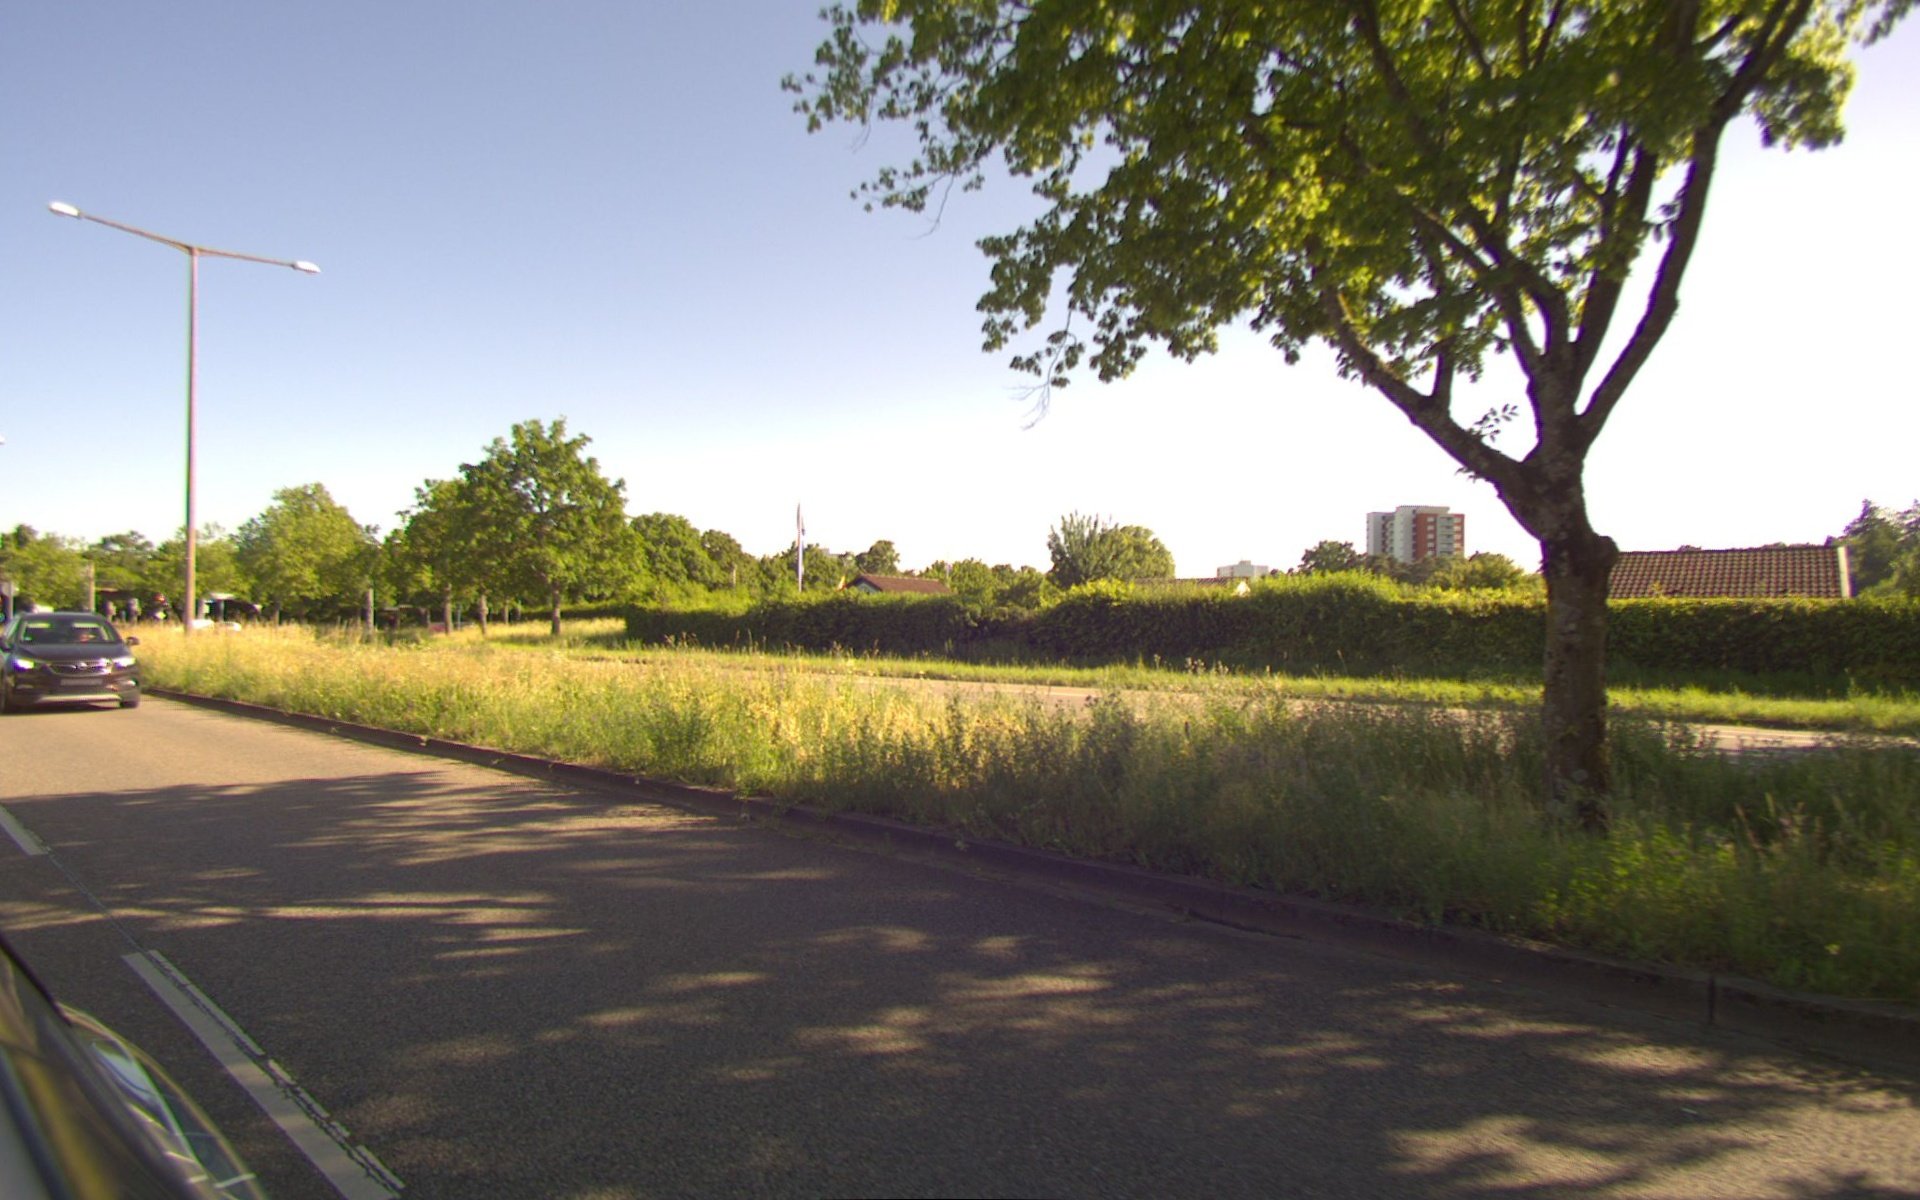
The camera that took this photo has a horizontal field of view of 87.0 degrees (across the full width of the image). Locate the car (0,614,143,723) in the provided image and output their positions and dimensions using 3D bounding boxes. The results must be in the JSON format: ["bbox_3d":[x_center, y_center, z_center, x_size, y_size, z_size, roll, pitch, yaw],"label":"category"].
[{"bbox_3d":[-15.569,1.103,17.396,3.854,1.675,1.692,-1,-2,41],"label":"car"}]

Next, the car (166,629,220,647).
[{"bbox_3d":[-78.035,3.870,103.001,1.772,1.768,3.956,-1,-2,32],"label":"car"}]
